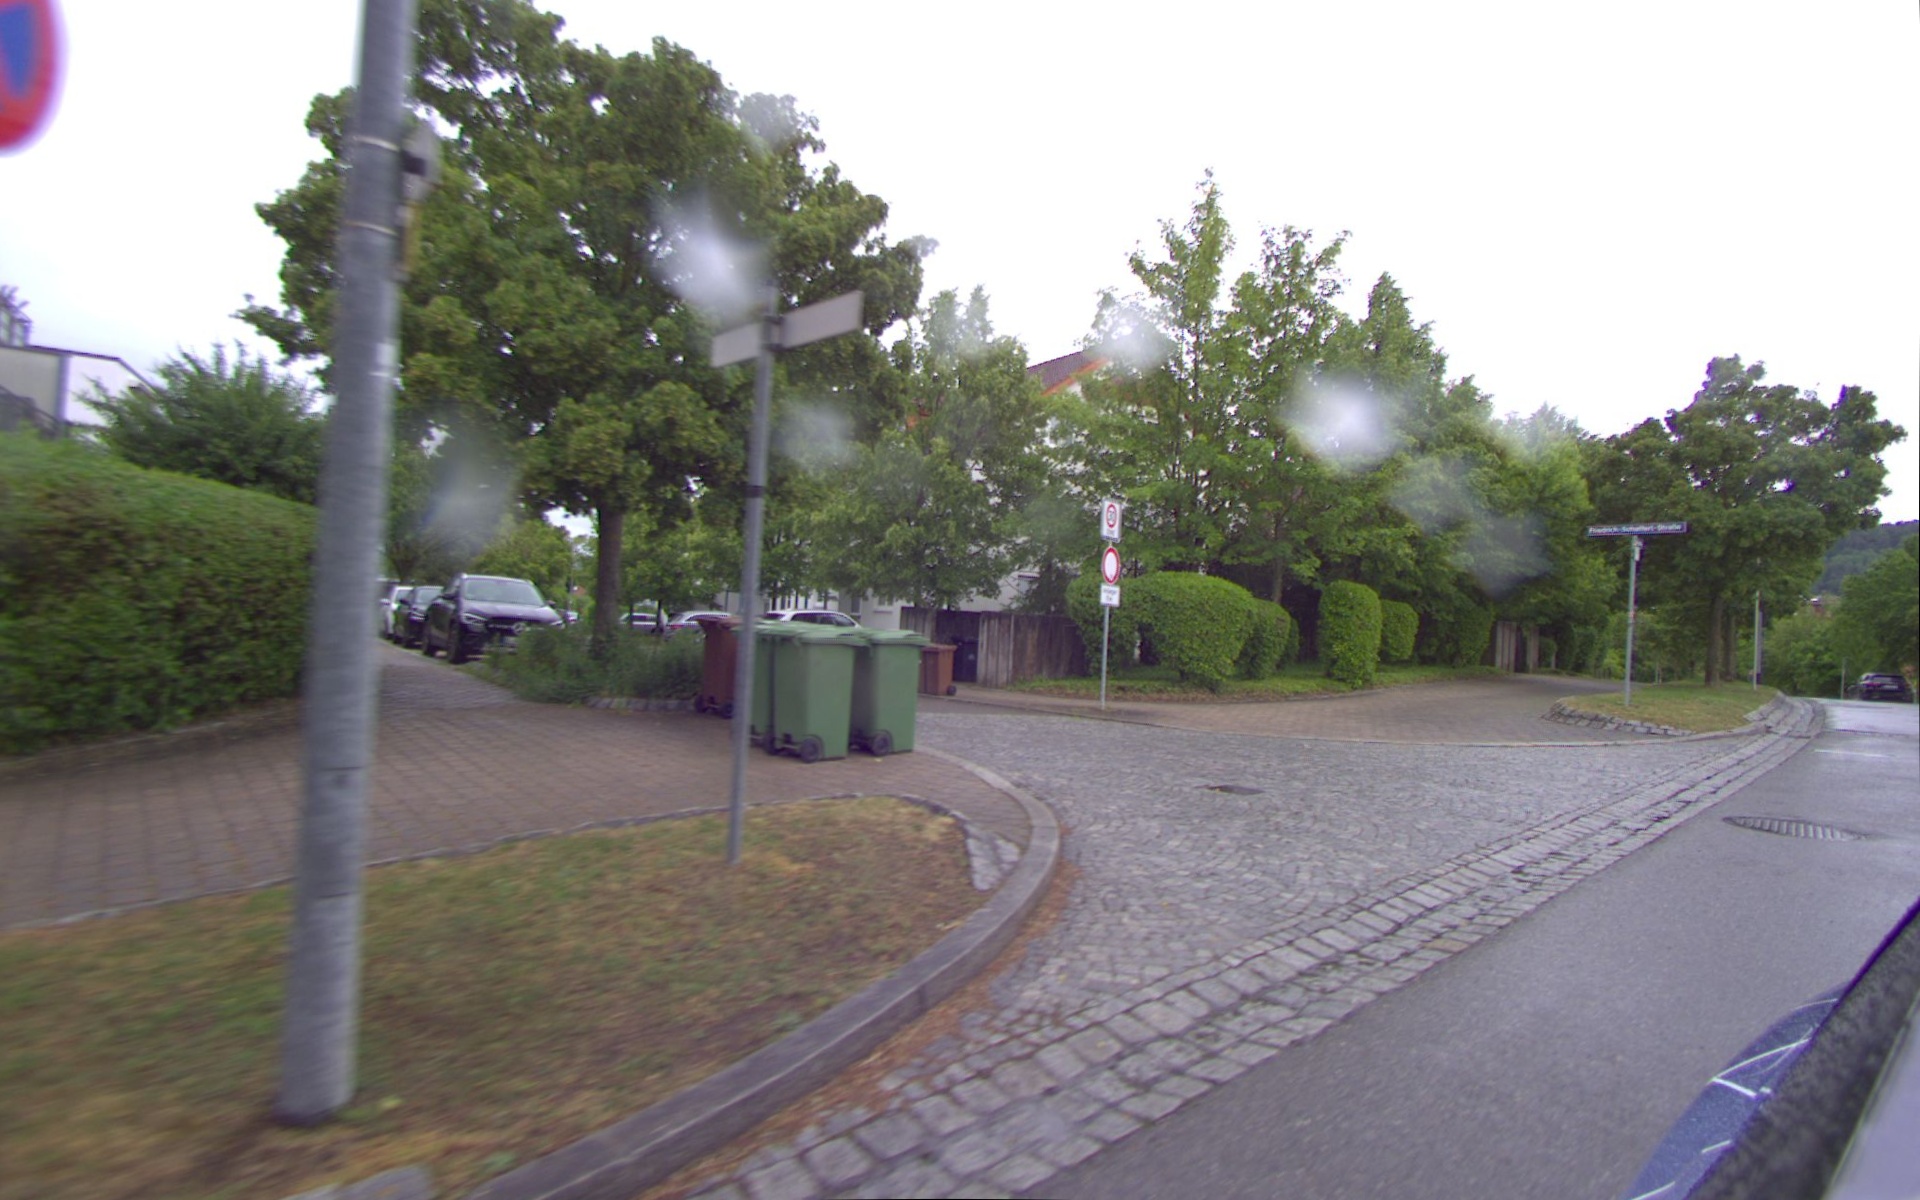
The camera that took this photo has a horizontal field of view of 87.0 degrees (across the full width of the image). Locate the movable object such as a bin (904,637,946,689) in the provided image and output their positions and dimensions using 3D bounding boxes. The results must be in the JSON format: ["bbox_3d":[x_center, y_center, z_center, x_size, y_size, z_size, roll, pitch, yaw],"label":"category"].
[{"bbox_3d":[-0.661,1.183,19.141,0.561,0.943,0.530,3,-2,-32],"label":"movable object such as a bin"}]

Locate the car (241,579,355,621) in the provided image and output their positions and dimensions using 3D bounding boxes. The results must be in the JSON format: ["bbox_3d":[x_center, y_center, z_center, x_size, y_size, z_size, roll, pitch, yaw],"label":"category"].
[{"bbox_3d":[-29.058,0.007,44.488,3.928,1.588,1.906,4,-3,-41],"label":"car"}]

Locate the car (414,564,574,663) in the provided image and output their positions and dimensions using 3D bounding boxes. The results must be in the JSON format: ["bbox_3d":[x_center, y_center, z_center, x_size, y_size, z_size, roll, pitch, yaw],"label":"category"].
[{"bbox_3d":[-8.654,0.225,18.597,1.747,1.538,4.135,6,-3,-37],"label":"car"}]

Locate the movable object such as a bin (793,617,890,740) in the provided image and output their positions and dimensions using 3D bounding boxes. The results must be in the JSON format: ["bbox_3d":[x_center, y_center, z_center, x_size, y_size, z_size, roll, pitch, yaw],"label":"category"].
[{"bbox_3d":[-1.110,0.719,9.520,0.685,1.088,0.542,3,-1,-45],"label":"movable object such as a bin"}]

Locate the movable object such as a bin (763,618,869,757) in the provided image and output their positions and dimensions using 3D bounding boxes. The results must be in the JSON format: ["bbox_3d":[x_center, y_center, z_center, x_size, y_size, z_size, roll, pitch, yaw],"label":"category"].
[{"bbox_3d":[-1.206,0.714,8.492,0.656,1.087,0.542,3,-1,-44],"label":"movable object such as a bin"}]

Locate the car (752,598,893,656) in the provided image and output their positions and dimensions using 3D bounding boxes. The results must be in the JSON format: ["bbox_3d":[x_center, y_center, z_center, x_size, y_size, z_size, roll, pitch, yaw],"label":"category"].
[{"bbox_3d":[-4.237,0.832,31.302,3.919,1.685,1.781,1,0,-29],"label":"car"}]

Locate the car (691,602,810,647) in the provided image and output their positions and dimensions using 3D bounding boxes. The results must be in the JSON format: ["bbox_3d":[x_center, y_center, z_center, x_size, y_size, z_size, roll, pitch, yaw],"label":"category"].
[{"bbox_3d":[-7.707,0.903,37.275,3.919,1.547,1.781,1,0,-29],"label":"car"}]

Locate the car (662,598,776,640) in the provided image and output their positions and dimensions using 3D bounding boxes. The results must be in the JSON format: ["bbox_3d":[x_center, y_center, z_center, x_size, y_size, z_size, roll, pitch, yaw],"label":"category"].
[{"bbox_3d":[-9.352,0.748,39.322,3.919,1.553,1.781,1,0,-29],"label":"car"}]

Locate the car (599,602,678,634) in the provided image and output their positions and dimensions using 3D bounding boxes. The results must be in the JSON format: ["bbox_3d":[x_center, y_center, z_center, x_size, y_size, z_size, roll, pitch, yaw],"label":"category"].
[{"bbox_3d":[-17.996,1.007,56.653,3.919,1.685,1.781,1,0,-29],"label":"car"}]

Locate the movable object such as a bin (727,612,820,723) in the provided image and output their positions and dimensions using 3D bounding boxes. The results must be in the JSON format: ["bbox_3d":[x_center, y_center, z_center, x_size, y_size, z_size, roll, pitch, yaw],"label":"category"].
[{"bbox_3d":[-1.924,0.677,10.425,0.685,1.068,0.604,3,-1,-45],"label":"movable object such as a bin"}]

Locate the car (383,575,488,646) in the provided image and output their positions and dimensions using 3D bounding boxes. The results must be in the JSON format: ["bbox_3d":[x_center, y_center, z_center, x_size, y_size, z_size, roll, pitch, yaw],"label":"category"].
[{"bbox_3d":[-12.235,0.236,23.492,1.609,1.427,3.604,6,-3,-35],"label":"car"}]

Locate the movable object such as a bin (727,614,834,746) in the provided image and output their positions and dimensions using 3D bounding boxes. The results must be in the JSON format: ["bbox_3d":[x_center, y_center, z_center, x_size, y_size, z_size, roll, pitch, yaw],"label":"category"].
[{"bbox_3d":[-1.593,0.688,8.989,0.685,1.086,0.596,3,-1,-45],"label":"movable object such as a bin"}]

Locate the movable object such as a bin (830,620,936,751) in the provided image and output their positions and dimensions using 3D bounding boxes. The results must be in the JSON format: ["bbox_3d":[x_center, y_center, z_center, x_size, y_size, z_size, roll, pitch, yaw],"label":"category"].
[{"bbox_3d":[-0.687,0.741,9.046,0.685,1.088,0.600,3,-1,-45],"label":"movable object such as a bin"}]

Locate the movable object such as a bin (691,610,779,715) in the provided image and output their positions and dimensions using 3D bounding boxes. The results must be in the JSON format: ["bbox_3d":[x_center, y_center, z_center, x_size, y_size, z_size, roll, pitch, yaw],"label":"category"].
[{"bbox_3d":[-2.439,0.660,10.980,0.685,1.068,0.604,3,-1,-45],"label":"movable object such as a bin"}]

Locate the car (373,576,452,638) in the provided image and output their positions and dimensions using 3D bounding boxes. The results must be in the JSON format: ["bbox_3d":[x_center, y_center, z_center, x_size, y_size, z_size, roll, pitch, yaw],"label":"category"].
[{"bbox_3d":[-14.909,0.178,27.498,1.486,1.496,3.274,6,-3,-34],"label":"car"}]

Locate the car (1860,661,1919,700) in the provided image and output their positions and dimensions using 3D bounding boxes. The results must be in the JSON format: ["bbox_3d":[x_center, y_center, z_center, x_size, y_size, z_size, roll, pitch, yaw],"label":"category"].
[{"bbox_3d":[45.333,3.938,49.133,1.949,1.628,3.948,2,-4,35],"label":"car"}]

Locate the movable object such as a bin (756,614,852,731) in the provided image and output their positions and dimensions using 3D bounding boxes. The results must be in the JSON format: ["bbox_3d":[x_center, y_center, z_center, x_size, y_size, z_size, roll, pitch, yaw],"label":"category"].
[{"bbox_3d":[-1.527,0.696,9.943,0.685,1.080,0.577,3,-1,-45],"label":"movable object such as a bin"}]

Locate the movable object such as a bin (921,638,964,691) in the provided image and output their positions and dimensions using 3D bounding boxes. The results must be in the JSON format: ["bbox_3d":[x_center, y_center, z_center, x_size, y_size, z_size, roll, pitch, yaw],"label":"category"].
[{"bbox_3d":[-0.328,1.185,18.692,0.561,0.943,0.530,3,-2,-32],"label":"movable object such as a bin"}]
